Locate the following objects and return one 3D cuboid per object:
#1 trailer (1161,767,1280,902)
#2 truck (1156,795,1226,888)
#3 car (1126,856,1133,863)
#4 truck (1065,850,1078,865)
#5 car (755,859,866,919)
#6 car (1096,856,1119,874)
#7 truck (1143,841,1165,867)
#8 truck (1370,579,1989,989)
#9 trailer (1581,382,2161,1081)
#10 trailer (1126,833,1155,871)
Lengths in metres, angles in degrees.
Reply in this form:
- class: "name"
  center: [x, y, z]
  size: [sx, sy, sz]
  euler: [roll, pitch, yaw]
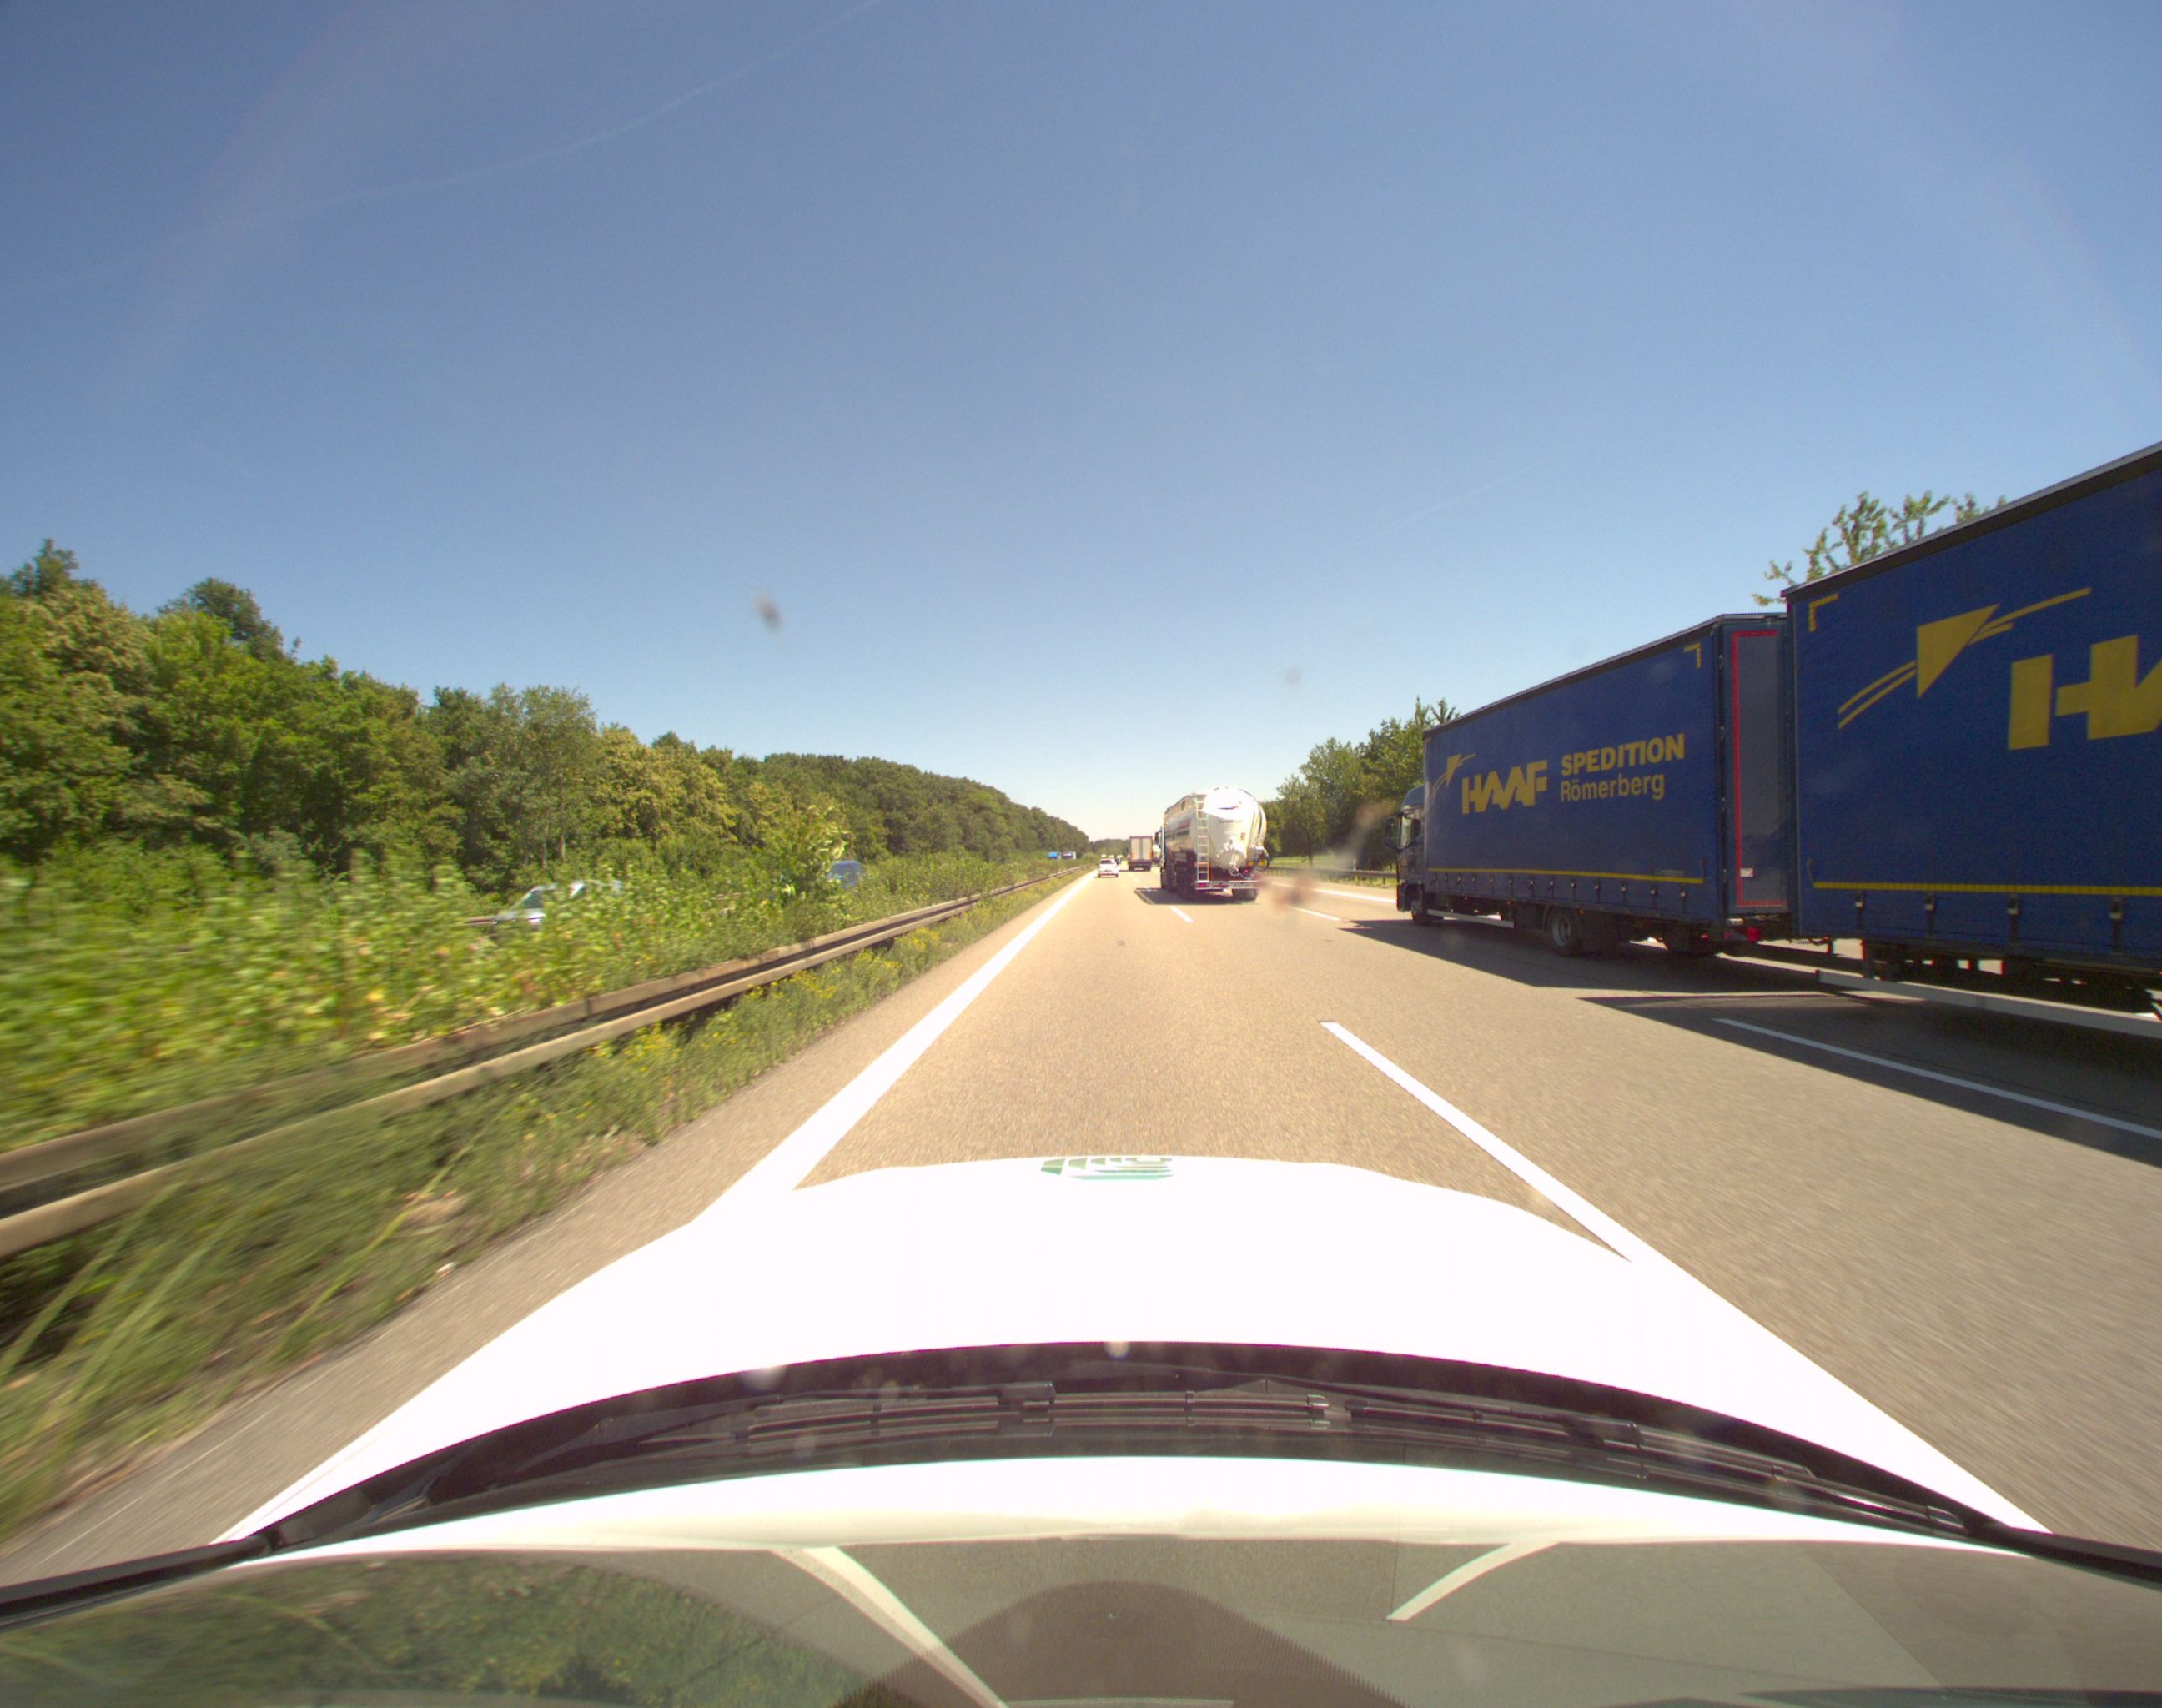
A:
- class: "trailer"
  center: [5.020, -0.594, 31.968]
  size: [2.780, 4.204, 12.357]
  euler: [-2, 0, 2]
- class: "truck"
  center: [5.255, -0.553, 39.861]
  size: [2.780, 4.204, 5.002]
  euler: [-2, 0, 1]
- class: "car"
  center: [12.356, 1.458, 205.668]
  size: [1.661, 1.765, 4.003]
  euler: [-2, 0, 3]
- class: "truck"
  center: [-2.402, 0.908, 211.717]
  size: [2.858, 4.009, 5.003]
  euler: [-2, 0, 3]
- class: "car"
  center: [-8.284, 1.016, 25.345]
  size: [1.943, 1.651, 4.002]
  euler: [-3, 0, 2]
- class: "car"
  center: [2.201, 0.914, 67.118]
  size: [1.805, 1.405, 3.318]
  euler: [-2, 0, 1]
- class: "truck"
  center: [13.062, 0.034, 147.322]
  size: [3.211, 4.345, 10.810]
  euler: [-2, 0, 2]
- class: "truck"
  center: [8.165, -0.717, 13.916]
  size: [2.780, 4.204, 10.810]
  euler: [-2, 0, 2]
- class: "trailer"
  center: [7.928, -0.757, 5.368]
  size: [2.780, 4.204, 10.810]
  euler: [-2, 0, 2]
- class: "trailer"
  center: [7.268, -0.192, 98.477]
  size: [3.208, 4.143, 12.368]
  euler: [-2, 0, 5]
